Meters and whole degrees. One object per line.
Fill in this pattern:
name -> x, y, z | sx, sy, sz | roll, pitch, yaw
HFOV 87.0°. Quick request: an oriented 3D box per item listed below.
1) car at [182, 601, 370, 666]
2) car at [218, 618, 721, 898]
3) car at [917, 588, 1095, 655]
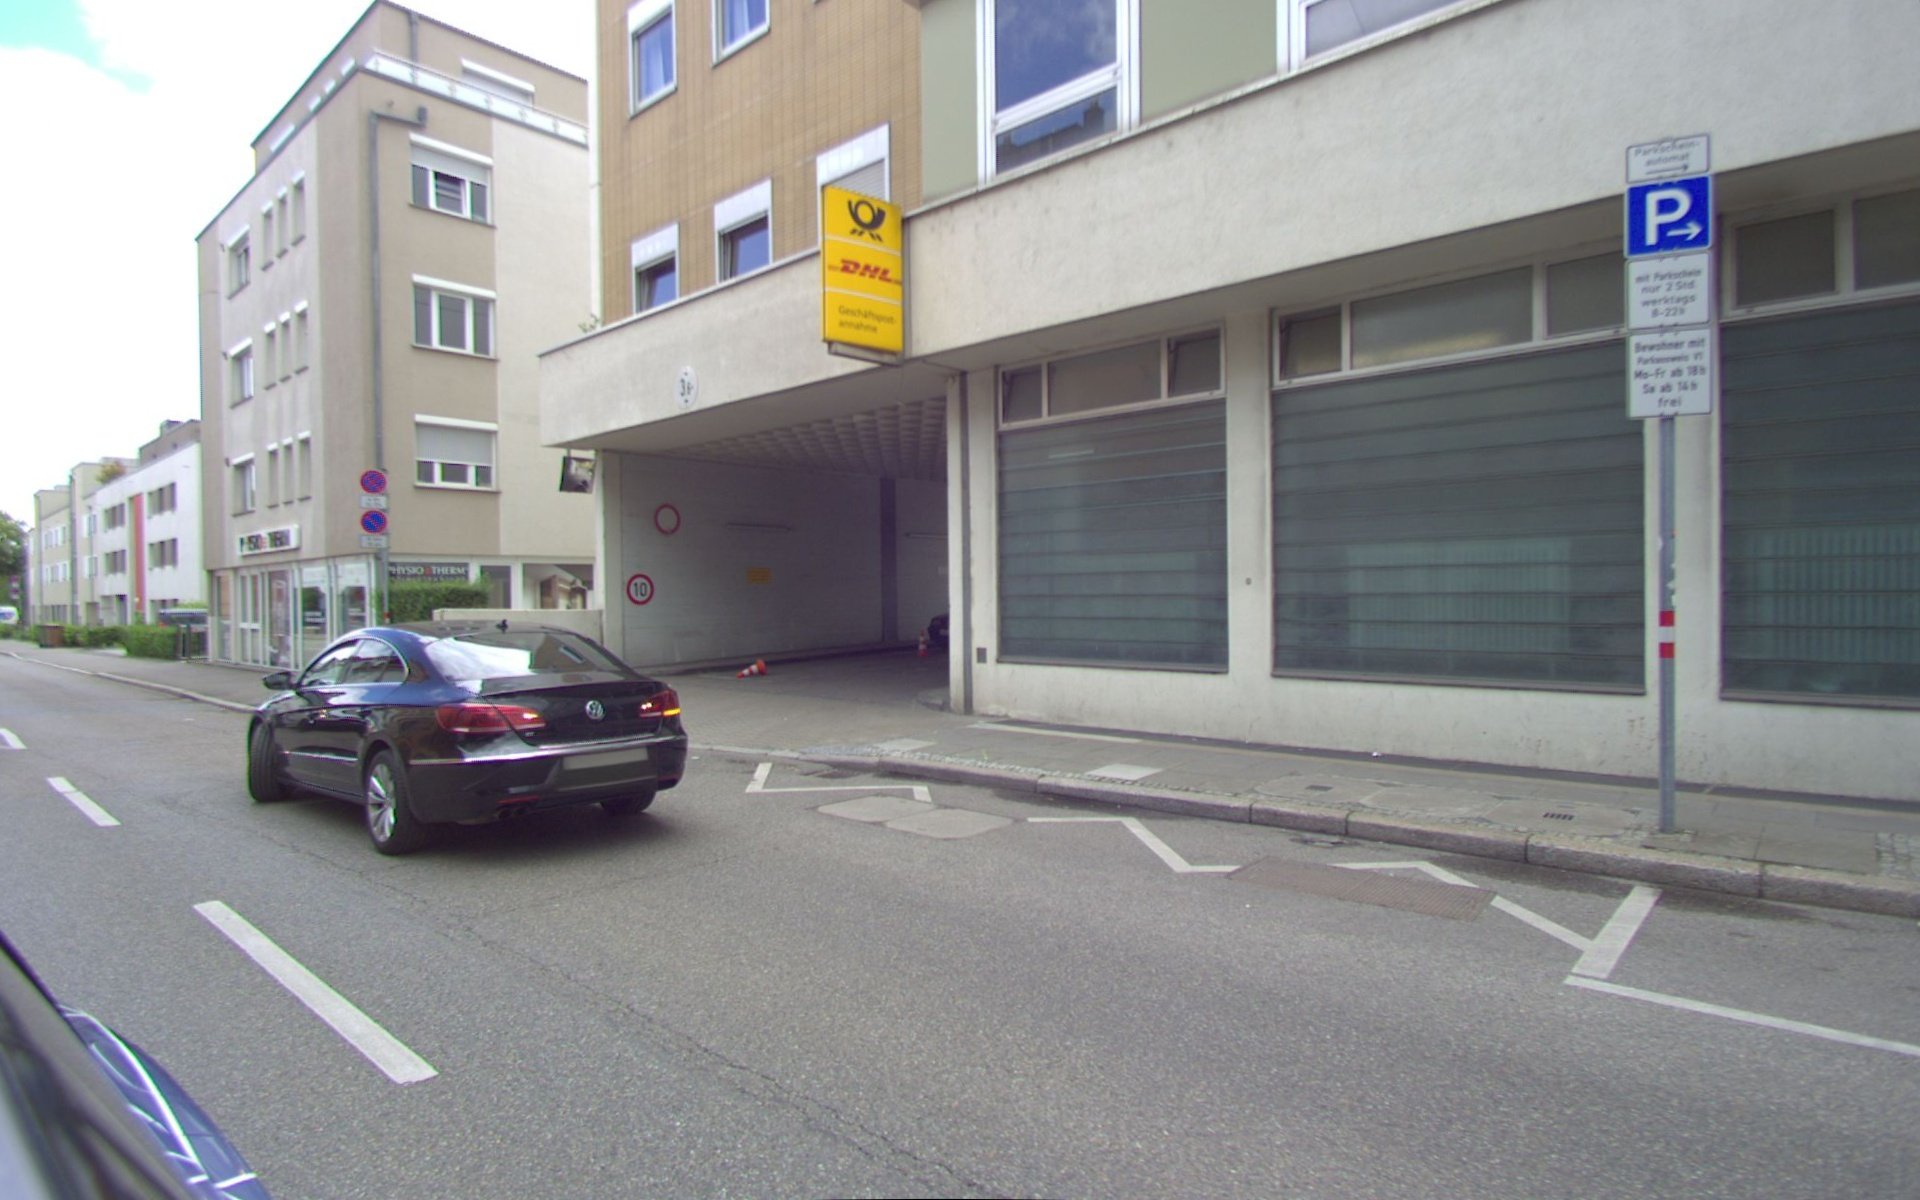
car -> -23.130, 1.070, 34.375 | 1.967, 2.013, 5.014 | -1, -1, 44
car -> -3.767, 0.858, 7.350 | 4.451, 1.409, 1.635 | -1, 0, 41
car -> 1.140, 0.434, 22.983 | 1.624, 1.333, 4.392 | -1, 0, 42
